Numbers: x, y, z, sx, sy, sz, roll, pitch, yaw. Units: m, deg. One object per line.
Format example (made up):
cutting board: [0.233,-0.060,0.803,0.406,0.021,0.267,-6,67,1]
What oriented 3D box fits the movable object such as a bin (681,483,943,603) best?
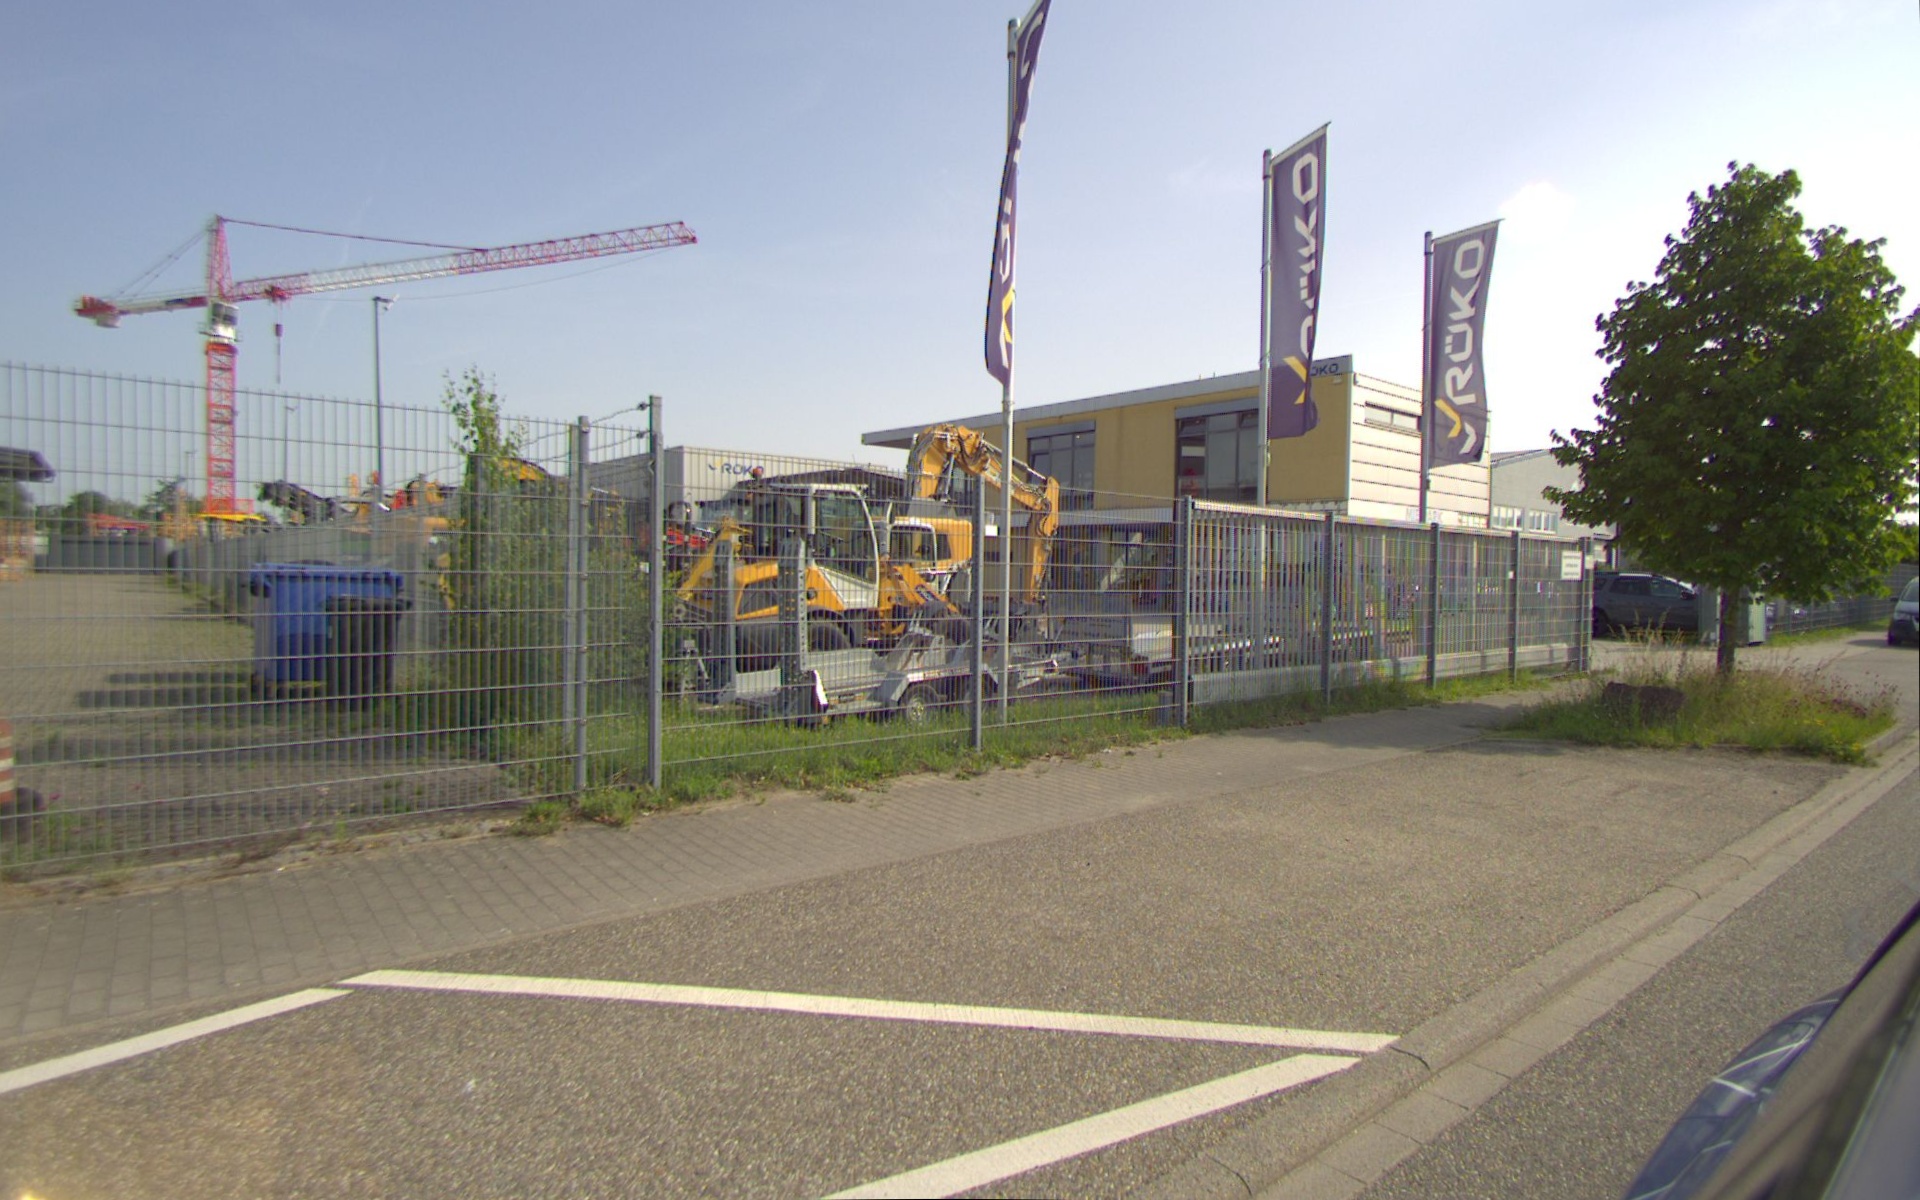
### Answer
movable object such as a bin: [-3.709,-1.366,26.255,6.239,2.749,2.705,0,2,-42]

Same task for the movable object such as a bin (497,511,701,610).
movable object such as a bin: [-11.093,-1.178,31.386,5.592,2.803,2.058,0,2,-42]

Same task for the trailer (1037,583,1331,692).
trailer: [3.258,0.417,14.293,4.219,1.259,1.948,-1,2,-41]

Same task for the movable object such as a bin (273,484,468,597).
movable object such as a bin: [-22.437,-2.208,38.717,6.041,3.977,2.454,-1,3,-44]

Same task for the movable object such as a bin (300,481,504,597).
movable object such as a bin: [-19.974,-2.136,36.431,6.041,3.827,2.454,-1,3,-44]

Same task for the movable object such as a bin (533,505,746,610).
movable object such as a bin: [-9.285,-1.186,29.693,5.592,2.803,2.058,0,2,-42]

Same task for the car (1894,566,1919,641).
car: [24.068,0.045,24.409,4.175,1.741,1.829,-2,2,-41]

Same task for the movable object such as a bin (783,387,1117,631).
movable object such as a bin: [-0.037,-1.874,23.963,7.540,4.866,3.322,0,2,-42]

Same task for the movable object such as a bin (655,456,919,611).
movable object such as a bin: [-4.882,-1.784,29.537,7.083,3.977,2.923,0,2,-42]

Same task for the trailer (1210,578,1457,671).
trailer: [6.525,0.324,17.463,4.482,1.327,1.998,-2,3,-39]

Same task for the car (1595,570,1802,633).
car: [19.771,-0.016,27.223,1.867,1.514,4.230,0,1,-43]

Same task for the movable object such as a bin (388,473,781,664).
movable object such as a bin: [-5.915,-0.490,16.207,5.243,2.522,2.929,-1,2,-39]

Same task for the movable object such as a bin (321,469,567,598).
movable object such as a bin: [-17.431,-2.175,34.558,7.083,3.977,2.469,-1,3,-44]

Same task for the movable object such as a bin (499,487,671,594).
movable object such as a bin: [-15.035,-2.321,40.825,5.925,3.977,2.720,-1,3,-44]

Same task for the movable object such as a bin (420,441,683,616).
movable object such as a bin: [-10.195,-1.678,25.490,5.616,3.921,2.690,0,2,-39]

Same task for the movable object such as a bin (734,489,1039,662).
movable object such as a bin: [-1.139,-0.407,16.759,4.675,2.489,1.999,0,2,-36]

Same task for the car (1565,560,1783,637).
car: [17.729,-0.110,25.240,4.224,1.759,1.870,2,2,43]

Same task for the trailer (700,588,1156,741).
trailer: [-0.184,0.525,11.064,4.713,1.259,2.130,-1,2,-41]

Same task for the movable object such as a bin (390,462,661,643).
movable object such as a bin: [-8.246,-0.867,19.390,4.412,3.069,1.997,0,2,-40]

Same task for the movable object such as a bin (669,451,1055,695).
movable object such as a bin: [-1.181,-0.361,13.871,5.068,2.786,1.891,-1,2,-40]
